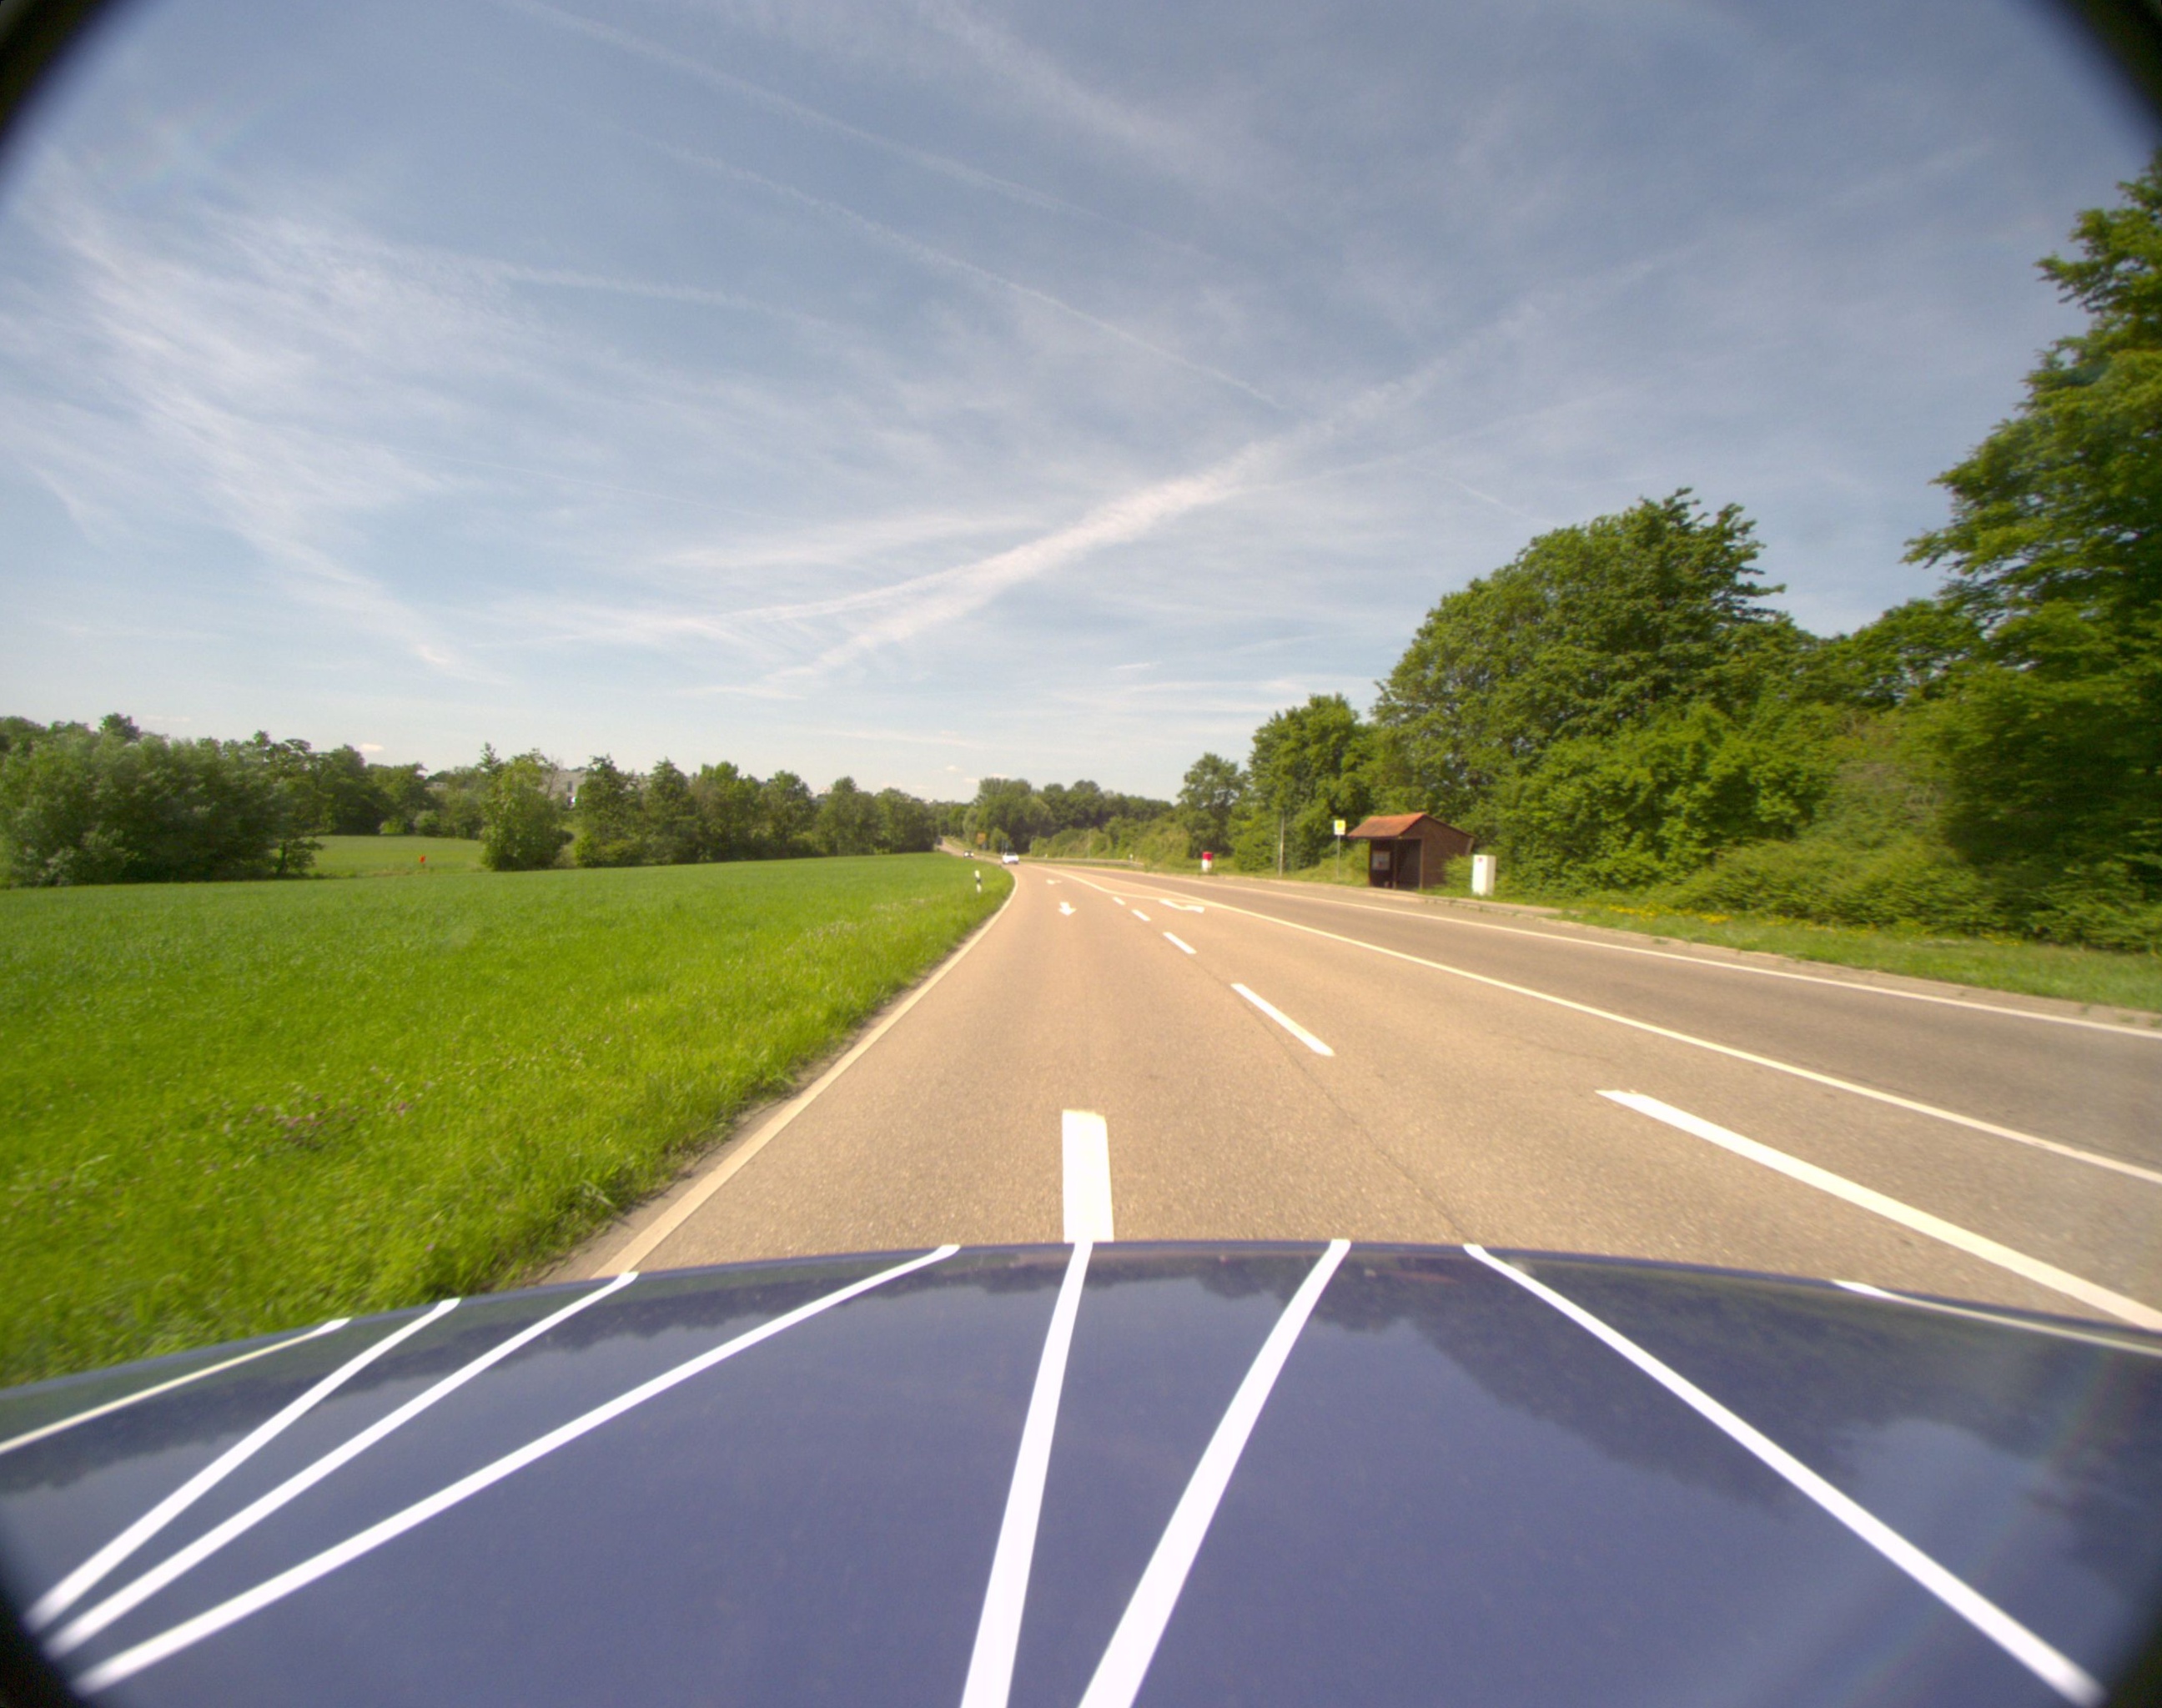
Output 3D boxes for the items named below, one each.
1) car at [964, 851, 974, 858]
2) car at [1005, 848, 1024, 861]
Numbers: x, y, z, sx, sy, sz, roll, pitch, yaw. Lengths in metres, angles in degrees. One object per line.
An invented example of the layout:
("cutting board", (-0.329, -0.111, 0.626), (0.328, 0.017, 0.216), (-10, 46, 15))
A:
("car", (-23.855, 0.155, 161.805), (2.000, 1.575, 3.997), (0, 0, -9))
("car", (-8.470, 0.036, 96.482), (2.000, 1.576, 3.996), (0, 0, -9))
